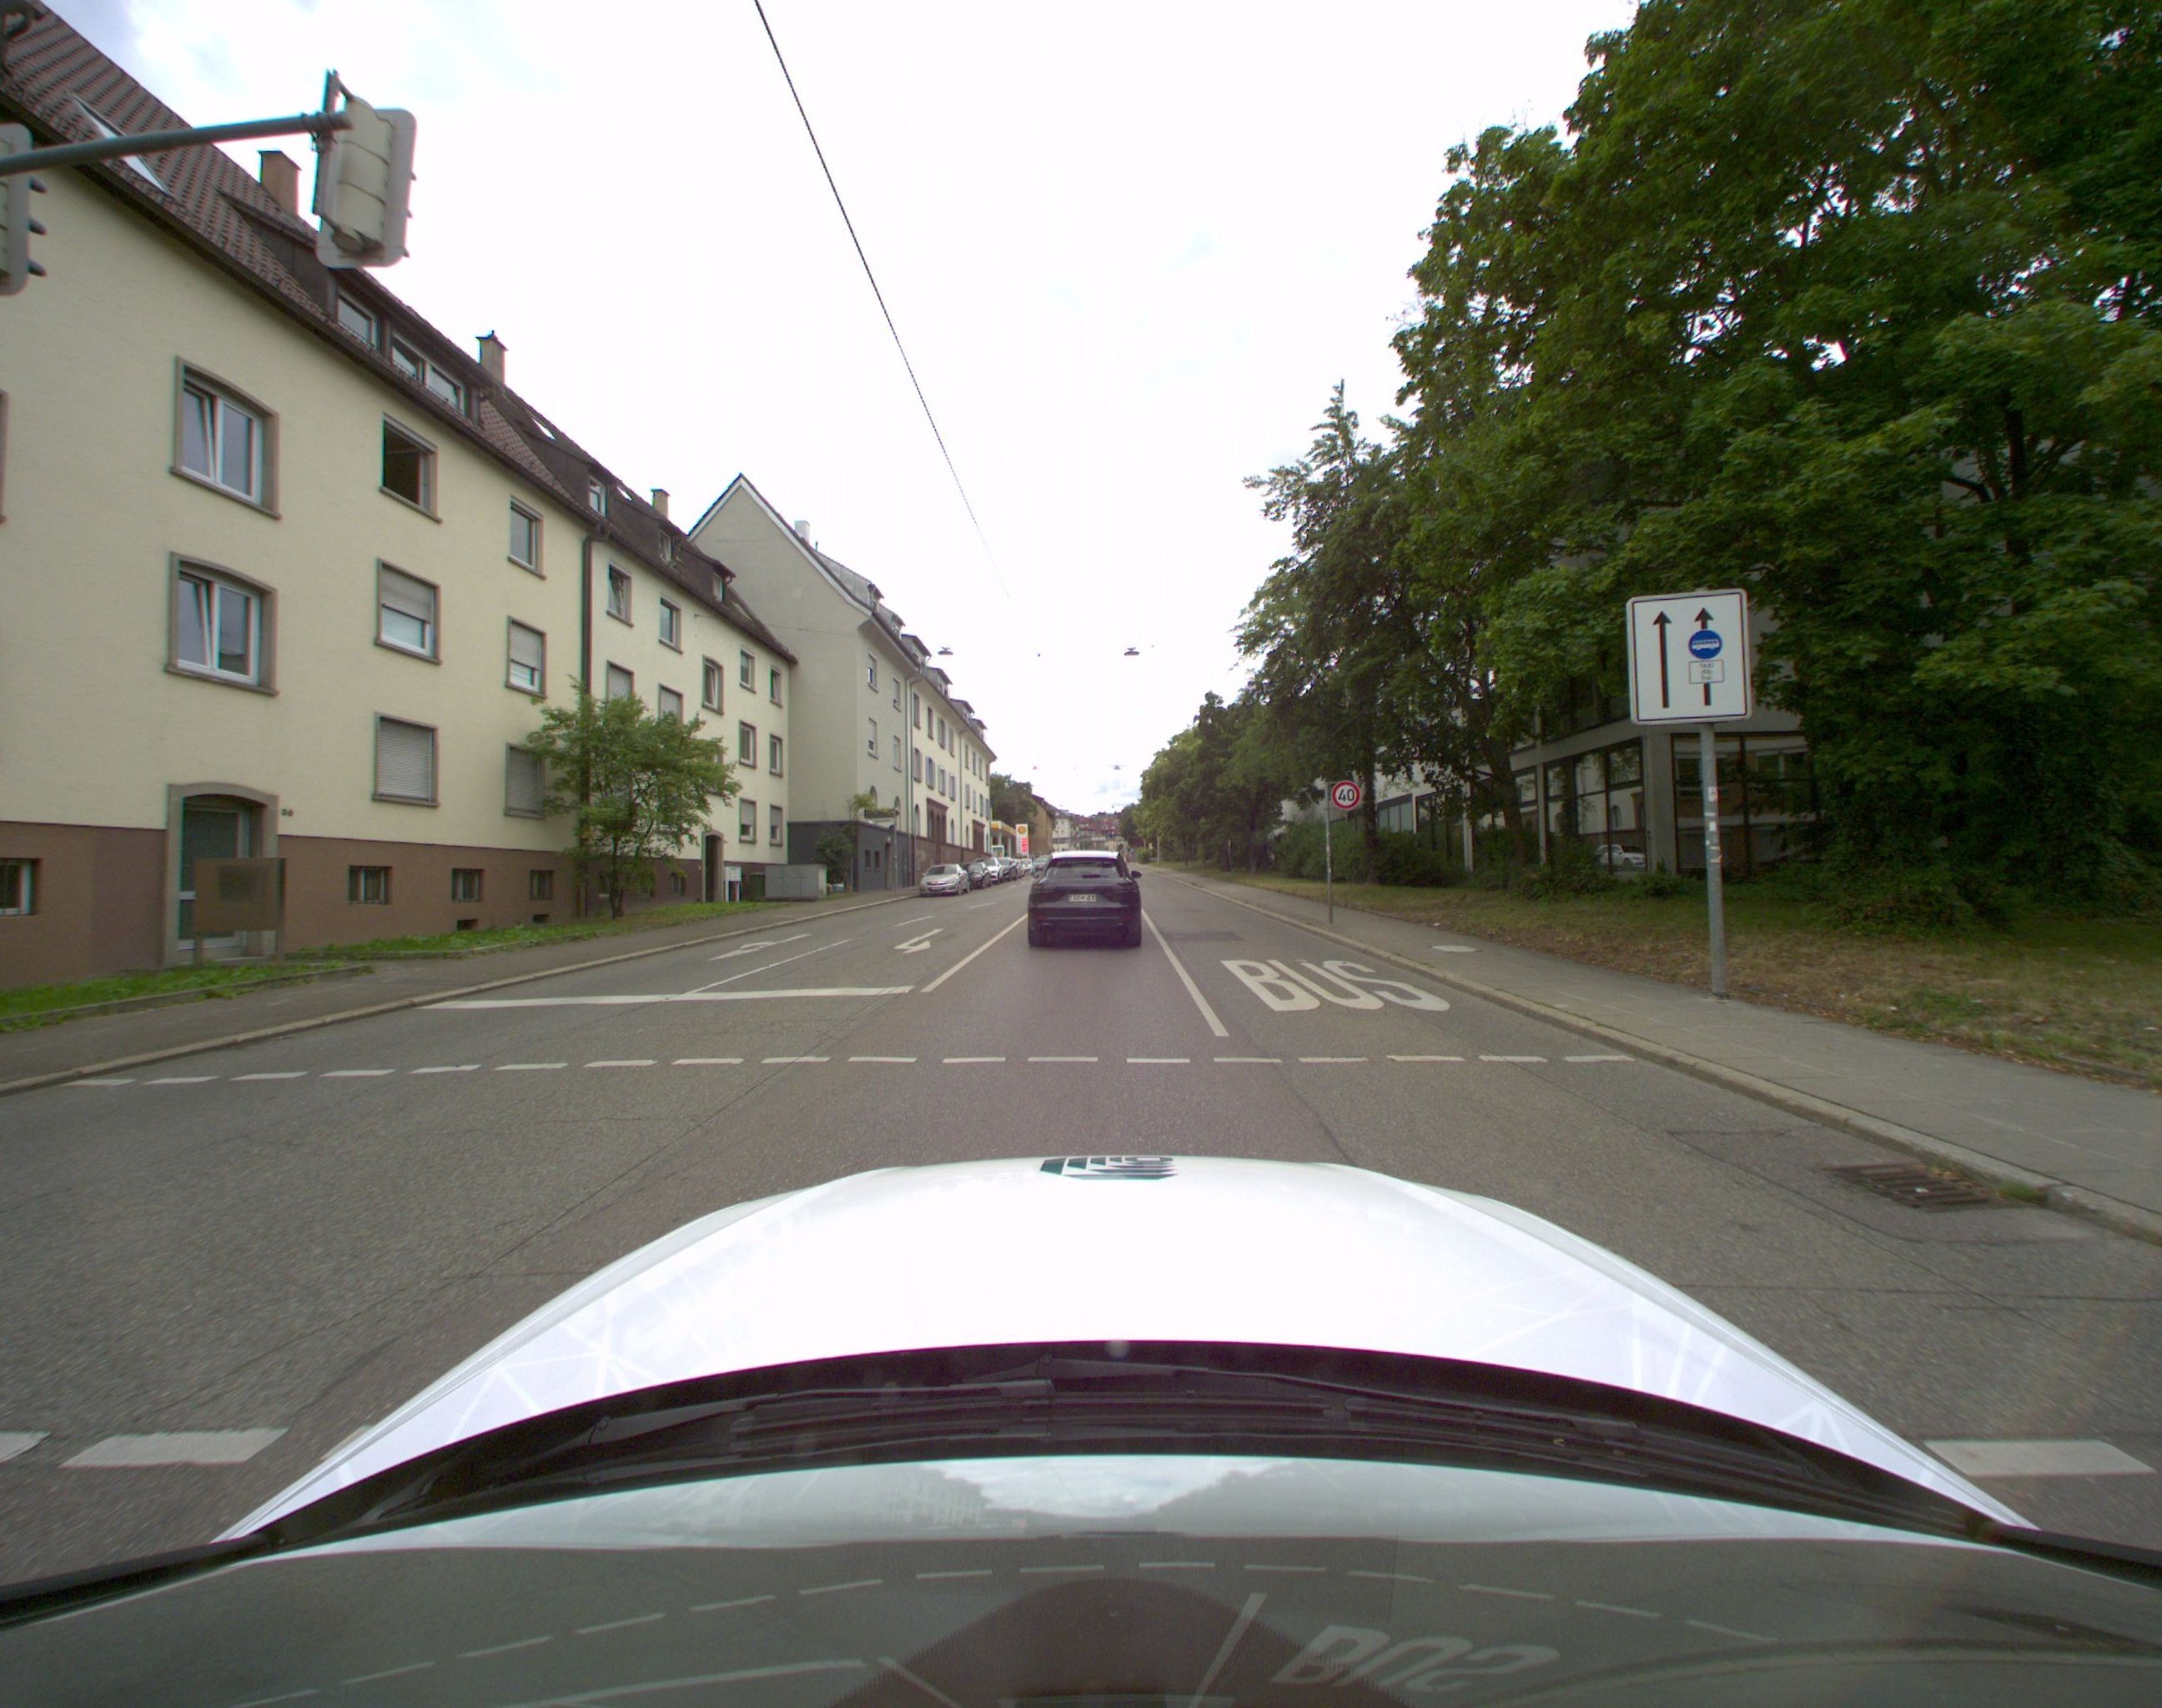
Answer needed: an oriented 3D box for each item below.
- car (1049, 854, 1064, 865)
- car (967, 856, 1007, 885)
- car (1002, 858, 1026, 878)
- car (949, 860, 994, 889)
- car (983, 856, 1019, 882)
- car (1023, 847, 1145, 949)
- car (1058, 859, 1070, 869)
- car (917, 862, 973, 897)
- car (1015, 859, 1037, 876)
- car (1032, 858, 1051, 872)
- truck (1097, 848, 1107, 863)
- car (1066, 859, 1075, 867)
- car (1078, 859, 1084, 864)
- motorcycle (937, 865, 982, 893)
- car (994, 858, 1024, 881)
[{"bbox_3d":[-3.578,0.840,119.336,1.908,1.577,4.702,-2,0,2],"label":"car"},{"bbox_3d":[-5.751,0.958,50.223,1.839,1.621,4.644,-2,0,1],"label":"car"},{"bbox_3d":[-5.397,1.110,65.651,1.542,1.475,3.605,-2,0,1],"label":"car"},{"bbox_3d":[-5.859,1.076,43.969,1.721,1.429,4.193,-2,0,1],"label":"car"},{"bbox_3d":[-5.399,1.000,55.529,1.719,1.599,4.506,-2,0,4],"label":"car"},{"bbox_3d":[0.116,0.720,15.354,1.986,1.662,4.002,0,0,2],"label":"car"},{"bbox_3d":[-2.923,1.748,141.115,1.776,1.609,4.267,-3,-1,3],"label":"car"},{"bbox_3d":[-6.047,1.112,36.616,1.721,1.374,4.337,-2,0,0],"label":"car"},{"bbox_3d":[-5.027,1.219,75.013,1.613,1.425,3.667,-2,0,2],"label":"car"},{"bbox_3d":[-4.446,1.259,93.072,1.784,1.450,4.219,-2,0,2],"label":"car"},{"bbox_3d":[5.031,0.300,193.102,2.258,3.424,9.880,-1,-1,1],"label":"truck"},{"bbox_3d":[-2.274,1.843,171.431,1.740,1.568,3.907,-2,-1,0],"label":"car"},{"bbox_3d":[0.015,2.210,249.078,1.758,1.508,4.002,-1,-1,2],"label":"car"},{"bbox_3d":[-6.003,1.225,40.284,2.045,1.235,0.803,-3,0,-17],"label":"motorcycle"},{"bbox_3d":[-5.336,1.098,60.714,1.721,1.558,4.082,-3,0,1],"label":"car"}]
